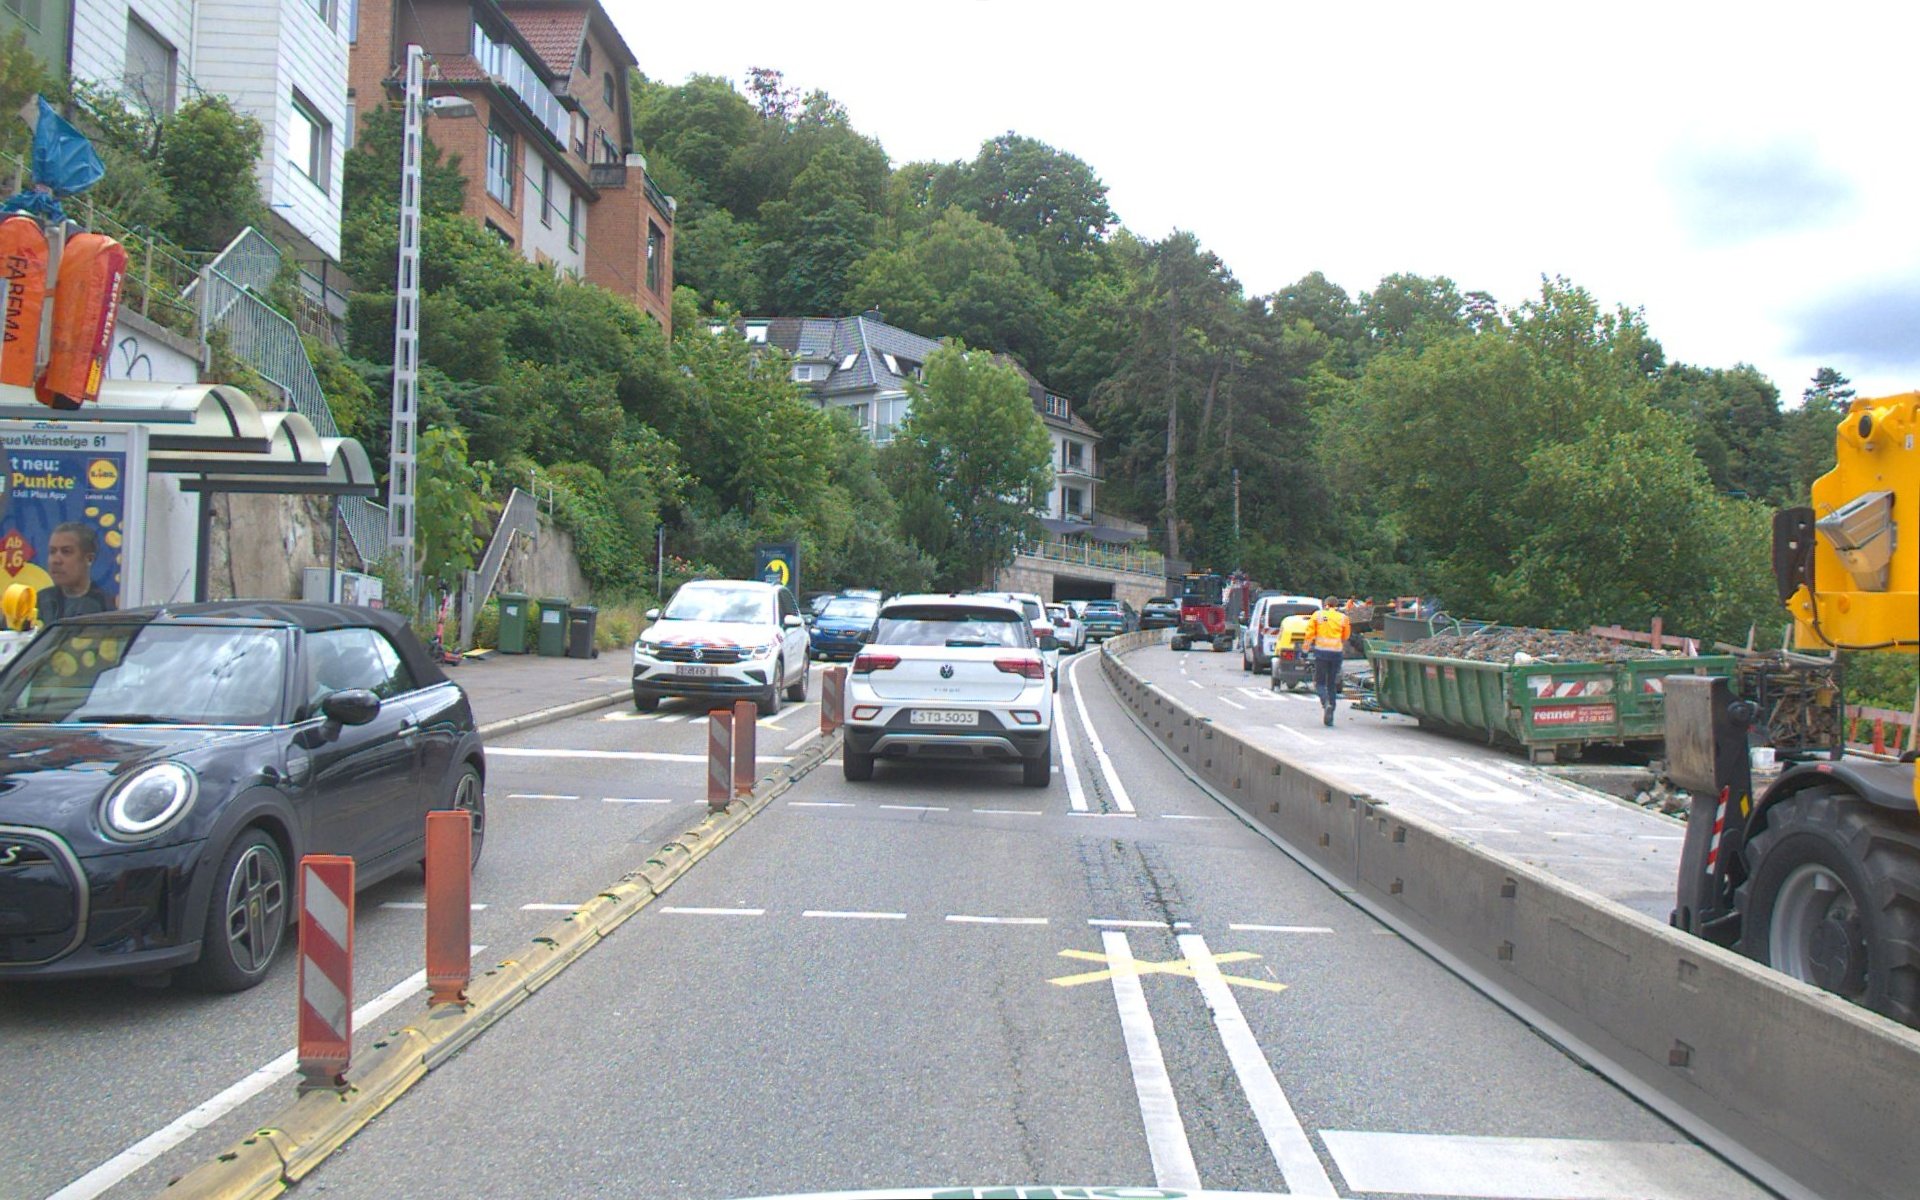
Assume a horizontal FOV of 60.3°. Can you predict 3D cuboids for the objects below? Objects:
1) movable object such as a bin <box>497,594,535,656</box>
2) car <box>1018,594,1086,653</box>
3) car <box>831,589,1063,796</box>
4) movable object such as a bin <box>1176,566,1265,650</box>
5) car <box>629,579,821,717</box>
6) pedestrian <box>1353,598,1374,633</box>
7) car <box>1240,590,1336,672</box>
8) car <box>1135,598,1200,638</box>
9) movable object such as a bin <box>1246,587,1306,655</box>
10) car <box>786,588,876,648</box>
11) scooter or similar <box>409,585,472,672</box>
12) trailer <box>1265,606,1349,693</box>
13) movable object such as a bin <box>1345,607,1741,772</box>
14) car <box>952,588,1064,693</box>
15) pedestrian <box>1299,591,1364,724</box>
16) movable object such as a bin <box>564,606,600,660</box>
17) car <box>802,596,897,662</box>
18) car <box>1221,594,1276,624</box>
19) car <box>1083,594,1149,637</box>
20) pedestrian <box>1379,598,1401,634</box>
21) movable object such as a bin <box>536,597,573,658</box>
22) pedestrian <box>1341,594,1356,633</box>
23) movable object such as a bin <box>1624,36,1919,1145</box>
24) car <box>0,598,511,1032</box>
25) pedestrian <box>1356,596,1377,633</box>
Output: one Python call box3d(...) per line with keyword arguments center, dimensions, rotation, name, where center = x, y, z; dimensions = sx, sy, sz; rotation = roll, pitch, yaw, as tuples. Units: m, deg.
box3d(center=(-8.030, 0.447, 29.940), dimensions=(0.458, 1.072, 0.624), rotation=(3, 0, 1), name="movable object such as a bin")
box3d(center=(2.801, 0.684, 49.769), dimensions=(1.771, 1.692, 4.003), rotation=(0, 0, 7), name="car")
box3d(center=(-0.004, 0.714, 14.919), dimensions=(1.772, 1.558, 4.001), rotation=(2, 0, 3), name="car")
box3d(center=(8.928, 0.257, 56.347), dimensions=(2.165, 2.709, 4.947), rotation=(1, 0, 18), name="movable object such as a bin")
box3d(center=(-3.006, 0.568, 22.021), dimensions=(1.803, 1.627, 4.264), rotation=(1, 0, 2), name="car")
box3d(center=(20.261, 0.772, 83.021), dimensions=(0.858, 1.761, 0.878), rotation=(0, 0, 24), name="pedestrian")
box3d(center=(7.782, 0.694, 39.560), dimensions=(1.794, 1.811, 4.271), rotation=(1, 0, 6), name="car")
box3d(center=(9.086, 0.771, 72.198), dimensions=(1.773, 1.692, 3.999), rotation=(0, 0, 23), name="car")
box3d(center=(9.836, 0.627, 51.717), dimensions=(1.665, 1.976, 4.168), rotation=(1, 0, 9), name="movable object such as a bin")
box3d(center=(-3.675, 0.496, 47.668), dimensions=(1.756, 1.536, 4.003), rotation=(4, 0, 7), name="car")
box3d(center=(-7.739, 0.411, 24.682), dimensions=(0.450, 1.226, 1.435), rotation=(3, 0, -1), name="scooter or similar")
box3d(center=(6.598, 0.898, 31.660), dimensions=(1.261, 1.500, 3.637), rotation=(2, 0, 8), name="trailer")
box3d(center=(6.805, 0.934, 20.497), dimensions=(2.326, 1.589, 7.098), rotation=(2, 0, 0), name="movable object such as a bin")
box3d(center=(0.899, 0.659, 28.831), dimensions=(1.771, 1.692, 4.002), rotation=(0, 0, 4), name="car")
box3d(center=(4.974, 0.755, 22.202), dimensions=(0.632, 1.731, 0.850), rotation=(2, 0, 1), name="pedestrian")
box3d(center=(-6.830, 0.590, 29.929), dimensions=(0.458, 0.950, 0.624), rotation=(3, 0, 1), name="movable object such as a bin")
box3d(center=(-2.512, 0.634, 38.480), dimensions=(1.690, 1.445, 3.822), rotation=(0, 0, 4), name="car")
box3d(center=(16.630, 0.521, 95.243), dimensions=(1.777, 1.692, 3.989), rotation=(0, 0, 32), name="car")
box3d(center=(5.889, 0.554, 62.053), dimensions=(1.756, 1.537, 4.003), rotation=(0, 0, 16), name="car")
box3d(center=(21.017, 0.790, 80.884), dimensions=(0.770, 1.717, 0.781), rotation=(0, 0, 40), name="pedestrian")
box3d(center=(-7.333, 0.498, 29.916), dimensions=(0.458, 1.072, 0.624), rotation=(3, 0, 1), name="movable object such as a bin")
box3d(center=(19.302, 0.669, 82.238), dimensions=(0.675, 1.940, 0.826), rotation=(0, 0, 11), name="pedestrian")
box3d(center=(4.173, 0.006, 2.593), dimensions=(2.755, 3.124, 7.819), rotation=(2, 0, -3), name="movable object such as a bin")
box3d(center=(-3.365, 0.732, 7.378), dimensions=(1.637, 1.455, 3.588), rotation=(-1, 0, 2), name="car")
box3d(center=(20.628, 0.710, 83.900), dimensions=(0.858, 1.854, 0.878), rotation=(0, 0, 24), name="pedestrian")
